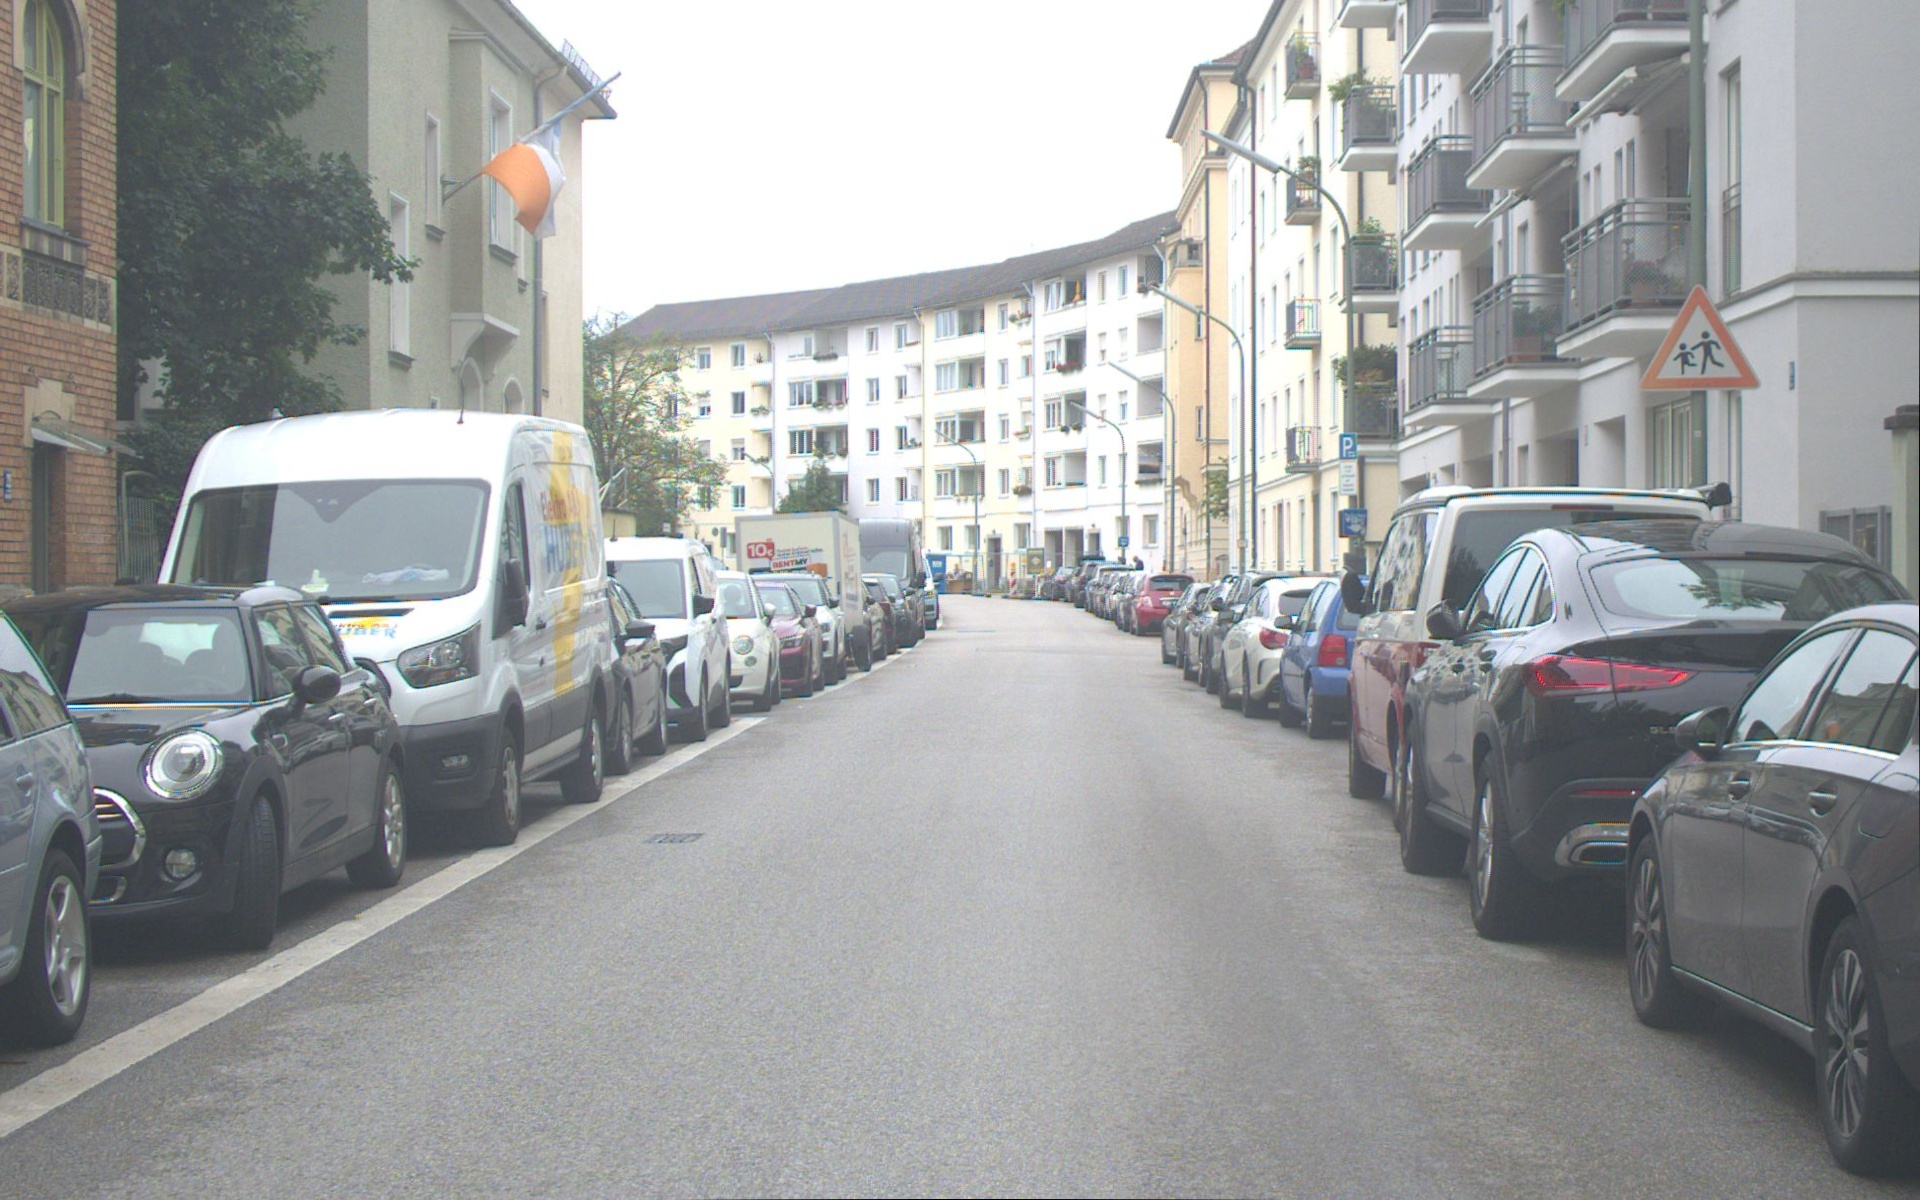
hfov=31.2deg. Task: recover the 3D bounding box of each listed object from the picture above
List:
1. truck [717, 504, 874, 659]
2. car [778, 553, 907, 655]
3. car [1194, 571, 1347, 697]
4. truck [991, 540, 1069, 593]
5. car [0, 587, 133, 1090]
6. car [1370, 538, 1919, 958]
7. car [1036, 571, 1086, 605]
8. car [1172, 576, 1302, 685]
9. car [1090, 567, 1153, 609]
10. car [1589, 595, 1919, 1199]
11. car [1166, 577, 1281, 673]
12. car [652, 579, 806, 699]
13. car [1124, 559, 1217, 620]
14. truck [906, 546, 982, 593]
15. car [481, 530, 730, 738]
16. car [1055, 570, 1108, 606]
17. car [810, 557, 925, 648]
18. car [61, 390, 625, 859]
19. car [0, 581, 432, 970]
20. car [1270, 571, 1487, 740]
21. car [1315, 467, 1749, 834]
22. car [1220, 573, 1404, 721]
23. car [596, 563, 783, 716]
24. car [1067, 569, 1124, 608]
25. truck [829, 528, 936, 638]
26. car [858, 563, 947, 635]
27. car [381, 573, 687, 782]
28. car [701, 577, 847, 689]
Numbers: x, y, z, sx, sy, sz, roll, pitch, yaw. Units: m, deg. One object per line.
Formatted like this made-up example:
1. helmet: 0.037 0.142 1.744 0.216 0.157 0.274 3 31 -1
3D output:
1. truck: -2.545 -0.287 54.401 1.994 2.311 5.409 -1 0 2
2. car: -2.091 0.063 62.279 1.994 1.756 4.381 -1 0 2
3. car: 3.716 0.383 41.615 1.649 1.429 4.000 -1 0 3
4. truck: 3.044 -1.478 150.203 2.225 2.292 5.292 0 1 -13
5. car: -3.672 0.737 9.423 1.689 1.449 3.997 -2 0 2
6. car: 2.999 0.539 15.120 1.859 1.546 4.753 -1 0 1
7. car: 4.170 -0.494 142.549 1.782 1.380 4.000 0 1 -2
8. car: 3.792 0.399 47.549 1.649 1.429 4.000 -1 0 3
9. car: 5.462 -0.407 116.551 1.782 1.380 4.000 0 1 -2
10. car: 3.024 0.746 9.708 1.727 1.454 4.416 1 0 1
11. car: 4.095 0.372 53.951 1.649 1.429 4.283 -1 0 3
12. car: -2.756 0.443 41.765 1.751 1.364 4.000 -1 0 -2
13. car: 4.947 -0.268 81.278 1.782 1.380 4.000 0 1 -2
14. truck: -0.823 -1.551 171.311 2.621 2.292 5.442 0 1 -13
15. car: -3.063 0.274 30.404 1.820 1.705 4.000 -1 0 -1
16. car: 4.810 -0.476 136.202 1.782 1.380 4.000 0 1 -2
17. car: -1.820 0.036 68.864 1.994 1.756 4.381 -1 0 2
18. car: -3.365 0.114 19.960 2.137 2.341 5.370 -1 0 2
19. car: -3.487 0.651 14.696 1.698 1.426 3.830 -1 0 2
20. car: 3.733 0.468 31.139 1.608 1.429 3.619 -1 0 2
21. car: 3.327 0.264 20.925 1.869 1.961 4.817 -1 0 1
22. car: 3.580 0.447 35.469 1.649 1.429 4.000 -1 0 3
23. car: -2.857 0.394 37.039 1.846 1.535 4.000 -1 0 -2
24. car: 4.920 -0.435 125.137 1.782 1.380 4.000 0 1 -2
25. truck: -1.654 -0.375 75.449 1.994 2.311 5.409 -1 0 2
26. car: -1.435 -0.036 86.975 1.994 1.756 4.381 -1 0 2
27. car: -3.121 0.529 25.926 1.744 1.440 4.000 -1 0 1
28. car: -2.527 0.434 47.472 1.795 1.464 3.867 -1 0 0
